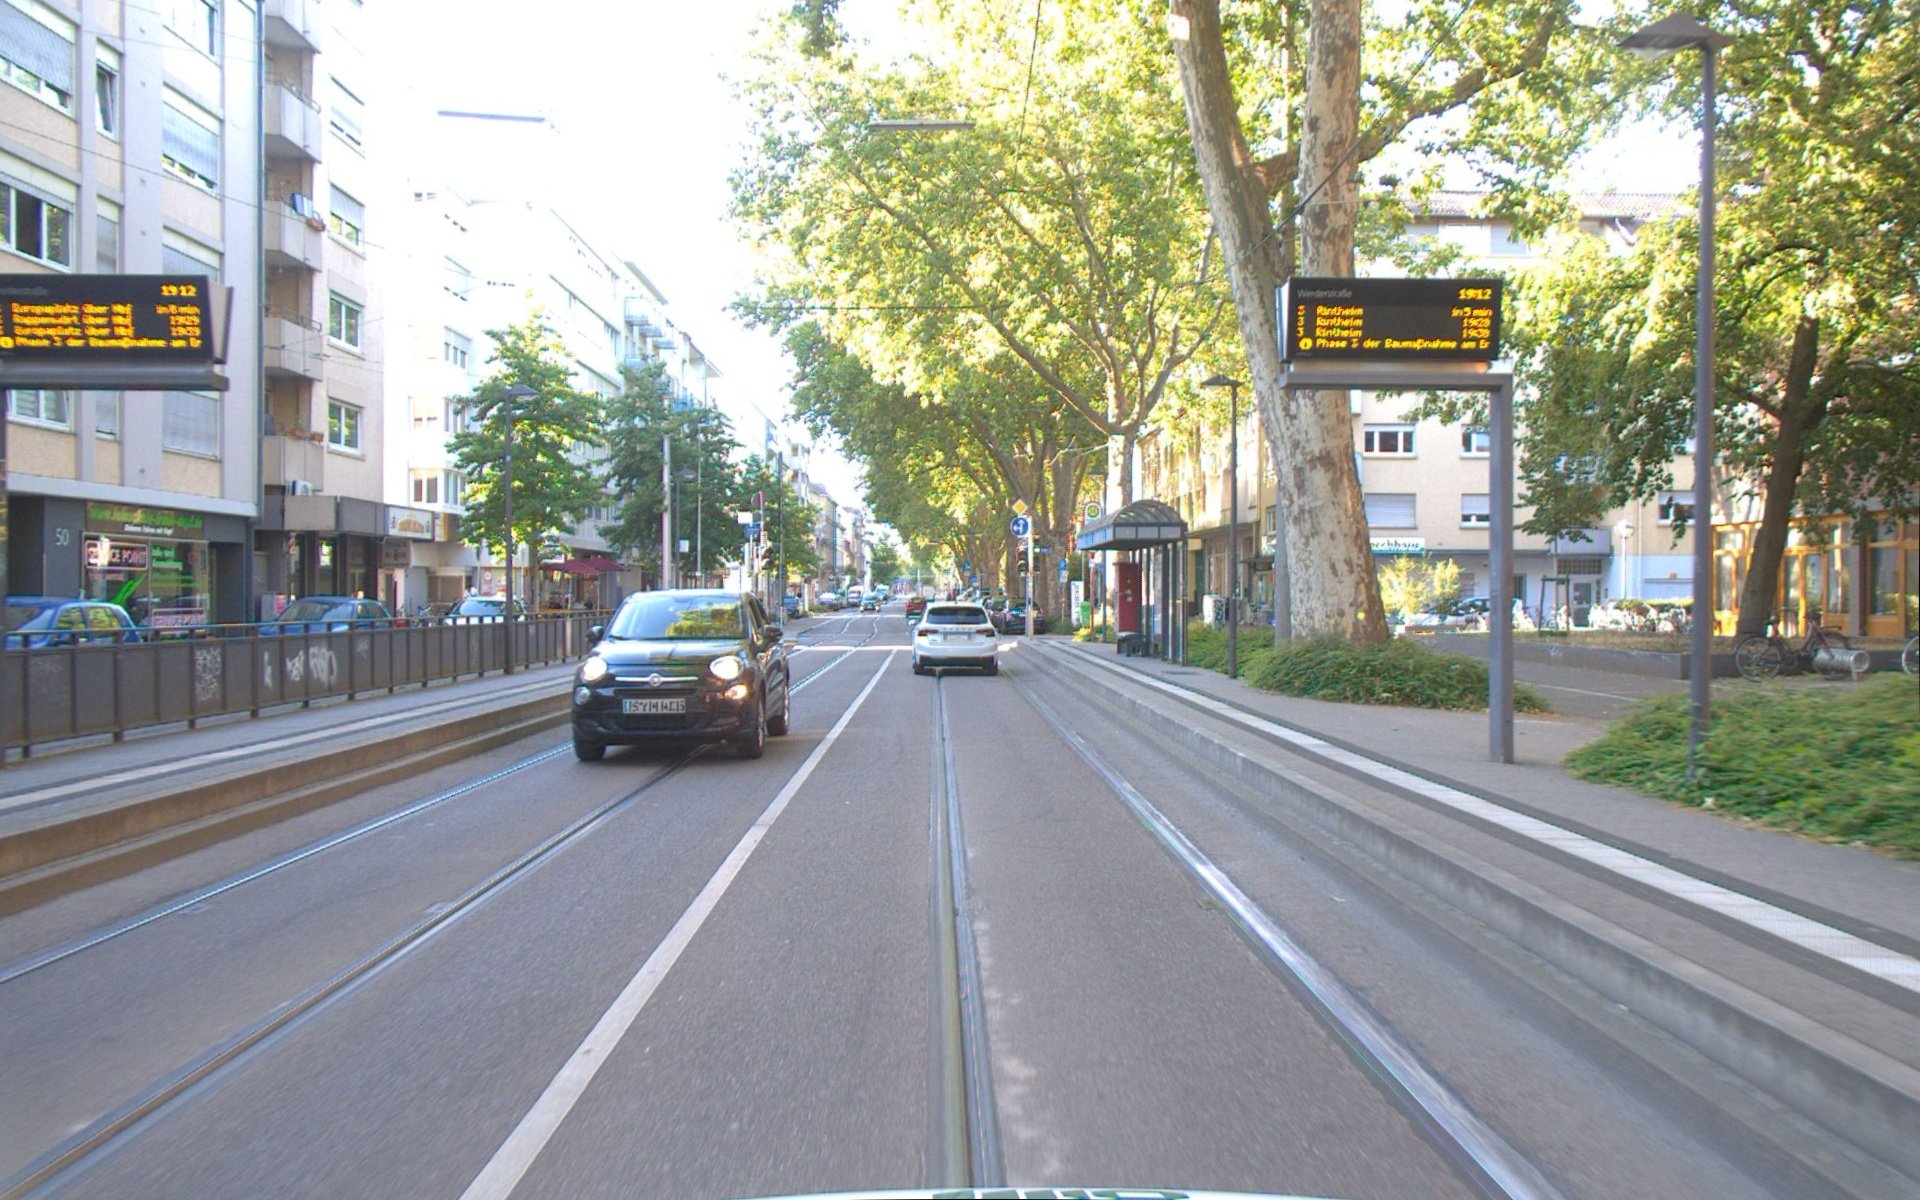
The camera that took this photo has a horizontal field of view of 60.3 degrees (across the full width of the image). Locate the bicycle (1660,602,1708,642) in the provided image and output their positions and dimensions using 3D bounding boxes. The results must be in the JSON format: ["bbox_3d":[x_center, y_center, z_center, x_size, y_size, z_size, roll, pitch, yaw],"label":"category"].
[{"bbox_3d":[21.938,0.647,50.124,0.647,1.177,1.697,-2,0,-2],"label":"bicycle"}]

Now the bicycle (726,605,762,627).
[{"bbox_3d":[-10.155,0.750,77.914,1.658,1.025,0.657,1,-1,-6],"label":"bicycle"}]

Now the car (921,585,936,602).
[{"bbox_3d":[-4.730,-0.967,248.610,2.157,2.429,3.999,0,0,-1],"label":"car"}]

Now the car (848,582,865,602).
[{"bbox_3d":[-14.846,-1.164,237.802,2.295,2.911,3.999,0,0,-1],"label":"car"}]

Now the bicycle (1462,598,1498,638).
[{"bbox_3d":[15.889,0.549,50.596,0.587,1.177,1.698,-2,0,2],"label":"bicycle"}]

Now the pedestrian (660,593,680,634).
[{"bbox_3d":[-11.395,0.533,64.920,0.711,1.583,0.768,0,0,-7],"label":"pedestrian"}]

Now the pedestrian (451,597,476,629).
[{"bbox_3d":[-19.517,0.507,64.963,0.741,1.263,0.759,0,0,-35],"label":"pedestrian"}]

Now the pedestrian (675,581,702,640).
[{"bbox_3d":[-7.593,0.291,46.286,0.640,1.613,0.772,0,0,-1],"label":"pedestrian"}]

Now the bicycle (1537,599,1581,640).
[{"bbox_3d":[18.193,0.582,50.259,0.623,1.177,1.982,-2,0,1],"label":"bicycle"}]

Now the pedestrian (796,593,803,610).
[{"bbox_3d":[-16.860,0.161,174.070,0.650,1.858,0.965,0,0,-3],"label":"pedestrian"}]

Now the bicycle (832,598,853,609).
[{"bbox_3d":[-13.957,0.408,196.272,2.477,1.193,0.718,2,-2,-8],"label":"bicycle"}]

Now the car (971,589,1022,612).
[{"bbox_3d":[3.324,0.029,150.947,4.453,2.113,1.999,0,0,-4],"label":"car"}]

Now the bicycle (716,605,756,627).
[{"bbox_3d":[-10.346,0.739,76.556,1.794,1.025,0.657,1,-1,-6],"label":"bicycle"}]

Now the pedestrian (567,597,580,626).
[{"bbox_3d":[-16.503,0.473,70.540,0.503,1.219,0.561,0,0,-17],"label":"pedestrian"}]

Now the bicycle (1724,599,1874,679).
[{"bbox_3d":[13.144,0.604,25.963,1.987,1.177,0.572,-2,0,9],"label":"bicycle"}]

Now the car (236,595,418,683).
[{"bbox_3d":[-12.266,0.709,32.363,1.916,1.571,4.388,-1,0,-1],"label":"car"}]

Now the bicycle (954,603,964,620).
[{"bbox_3d":[-0.072,0.788,113.300,0.667,1.089,1.780,0,0,-1],"label":"bicycle"}]

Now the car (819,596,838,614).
[{"bbox_3d":[-12.942,0.460,162.705,1.668,1.679,4.239,2,0,-3],"label":"car"}]

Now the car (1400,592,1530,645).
[{"bbox_3d":[16.890,0.609,55.475,3.783,1.722,1.865,0,0,-2],"label":"car"}]

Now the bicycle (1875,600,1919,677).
[{"bbox_3d":[15.615,0.578,26.090,1.988,1.177,0.572,-2,0,4],"label":"bicycle"}]

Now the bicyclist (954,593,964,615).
[{"bbox_3d":[-0.081,0.283,113.349,0.664,1.468,1.047,0,0,0],"label":"bicyclist"}]

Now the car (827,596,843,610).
[{"bbox_3d":[-13.455,0.349,178.564,1.620,1.462,3.834,0,0,-3],"label":"car"}]

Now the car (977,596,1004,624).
[{"bbox_3d":[1.788,0.576,96.325,1.531,1.545,2.910,-1,-1,1],"label":"car"}]

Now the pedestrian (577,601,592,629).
[{"bbox_3d":[-16.404,0.659,72.230,0.501,1.219,0.564,0,0,0],"label":"pedestrian"}]

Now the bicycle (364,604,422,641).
[{"bbox_3d":[-18.575,0.731,54.207,1.745,1.177,0.572,0,0,10],"label":"bicycle"}]

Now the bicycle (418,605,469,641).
[{"bbox_3d":[-16.965,0.743,54.319,1.750,1.177,0.571,0,0,30],"label":"bicycle"}]

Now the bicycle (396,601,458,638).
[{"bbox_3d":[-17.222,0.624,53.429,1.819,1.177,0.572,0,0,3],"label":"bicycle"}]

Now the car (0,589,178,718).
[{"bbox_3d":[-11.897,0.627,21.189,1.758,1.490,4.281,-1,0,-1],"label":"car"}]

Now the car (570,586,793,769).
[{"bbox_3d":[-2.689,0.682,16.790,1.726,1.616,3.998,0,0,-2],"label":"car"}]

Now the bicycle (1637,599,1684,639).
[{"bbox_3d":[21.225,0.568,50.148,0.647,1.177,1.697,-2,0,-2],"label":"bicycle"}]

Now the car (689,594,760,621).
[{"bbox_3d":[-13.762,0.457,96.802,3.933,1.501,1.850,1,0,-4],"label":"car"}]

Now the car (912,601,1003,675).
[{"bbox_3d":[-0.107,0.731,34.024,1.726,1.408,3.998,0,0,-2],"label":"car"}]

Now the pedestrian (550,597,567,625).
[{"bbox_3d":[-17.202,0.473,70.873,0.557,1.219,0.506,0,0,-36],"label":"pedestrian"}]

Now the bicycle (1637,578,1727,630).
[{"bbox_3d":[17.334,0.087,39.747,1.887,1.177,0.572,-2,0,15],"label":"bicycle"}]

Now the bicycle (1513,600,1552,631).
[{"bbox_3d":[22.967,0.617,66.389,1.679,1.177,0.594,-2,0,-36],"label":"bicycle"}]

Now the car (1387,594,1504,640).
[{"bbox_3d":[17.971,0.606,61.389,3.783,1.579,1.866,0,3,-2],"label":"car"}]

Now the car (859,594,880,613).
[{"bbox_3d":[-8.071,0.329,147.649,1.834,1.617,4.144,2,0,-3],"label":"car"}]

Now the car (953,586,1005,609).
[{"bbox_3d":[2.275,-0.320,197.919,6.008,2.681,2.528,0,0,-3],"label":"car"}]

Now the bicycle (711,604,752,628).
[{"bbox_3d":[-10.338,0.717,74.778,1.794,1.025,0.657,1,-1,-6],"label":"bicycle"}]

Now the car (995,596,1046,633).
[{"bbox_3d":[2.504,0.588,69.421,1.729,1.488,5.009,0,0,-3],"label":"car"}]

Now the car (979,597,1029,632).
[{"bbox_3d":[1.945,0.633,74.327,1.828,1.462,4.222,-1,0,-4],"label":"car"}]

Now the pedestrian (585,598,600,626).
[{"bbox_3d":[-16.560,0.543,74.474,0.506,1.219,0.558,0,0,-30],"label":"pedestrian"}]

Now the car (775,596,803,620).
[{"bbox_3d":[-11.712,0.550,113.321,1.681,1.489,3.993,3,0,-8],"label":"car"}]

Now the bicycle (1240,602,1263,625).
[{"bbox_3d":[13.345,0.597,75.735,0.559,1.014,1.778,-2,0,-6],"label":"bicycle"}]

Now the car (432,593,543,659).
[{"bbox_3d":[-12.662,0.660,44.587,1.840,1.680,4.356,-1,0,-2],"label":"car"}]

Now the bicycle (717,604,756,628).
[{"bbox_3d":[-9.853,0.725,72.865,1.658,1.025,0.657,1,-1,-6],"label":"bicycle"}]

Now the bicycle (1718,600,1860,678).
[{"bbox_3d":[13.452,0.624,26.849,1.990,1.177,0.572,-2,0,-1],"label":"bicycle"}]

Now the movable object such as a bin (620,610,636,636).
[{"bbox_3d":[-12.426,0.869,61.891,0.530,0.948,0.647,0,0,-18],"label":"movable object such as a bin"}]

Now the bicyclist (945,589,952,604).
[{"bbox_3d":[-1.078,-0.328,152.410,0.636,1.367,0.934,0,0,-3],"label":"bicyclist"}]

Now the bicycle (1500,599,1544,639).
[{"bbox_3d":[16.978,0.561,49.995,0.588,1.177,1.696,-2,0,-5],"label":"bicycle"}]

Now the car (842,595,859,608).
[{"bbox_3d":[-13.708,0.204,207.428,1.953,1.557,3.999,0,0,-1],"label":"car"}]

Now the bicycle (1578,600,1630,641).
[{"bbox_3d":[19.463,0.607,50.056,0.715,1.177,2.050,-2,0,-1],"label":"bicycle"}]

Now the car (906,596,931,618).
[{"bbox_3d":[-2.932,0.477,115.996,1.726,1.501,3.998,0,0,-2],"label":"car"}]

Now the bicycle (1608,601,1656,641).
[{"bbox_3d":[20.389,0.622,50.208,0.647,1.177,1.850,-2,0,-2],"label":"bicycle"}]

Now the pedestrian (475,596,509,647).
[{"bbox_3d":[-14.704,0.684,51.977,0.712,1.583,0.723,0,0,35],"label":"pedestrian"}]

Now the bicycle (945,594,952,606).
[{"bbox_3d":[-1.071,-0.016,152.397,0.636,1.089,1.582,0,0,-3],"label":"bicycle"}]

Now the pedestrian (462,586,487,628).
[{"bbox_3d":[-19.354,0.274,65.917,0.731,1.688,0.769,0,0,6],"label":"pedestrian"}]

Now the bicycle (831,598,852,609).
[{"bbox_3d":[-14.003,0.412,195.649,2.510,1.193,0.870,3,-2,-41],"label":"bicycle"}]

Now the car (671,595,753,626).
[{"bbox_3d":[-12.805,0.544,85.413,3.931,1.501,1.851,1,0,-1],"label":"car"}]

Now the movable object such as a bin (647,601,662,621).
[{"bbox_3d":[-16.527,0.570,89.555,0.664,1.074,0.622,0,0,0],"label":"movable object such as a bin"}]
